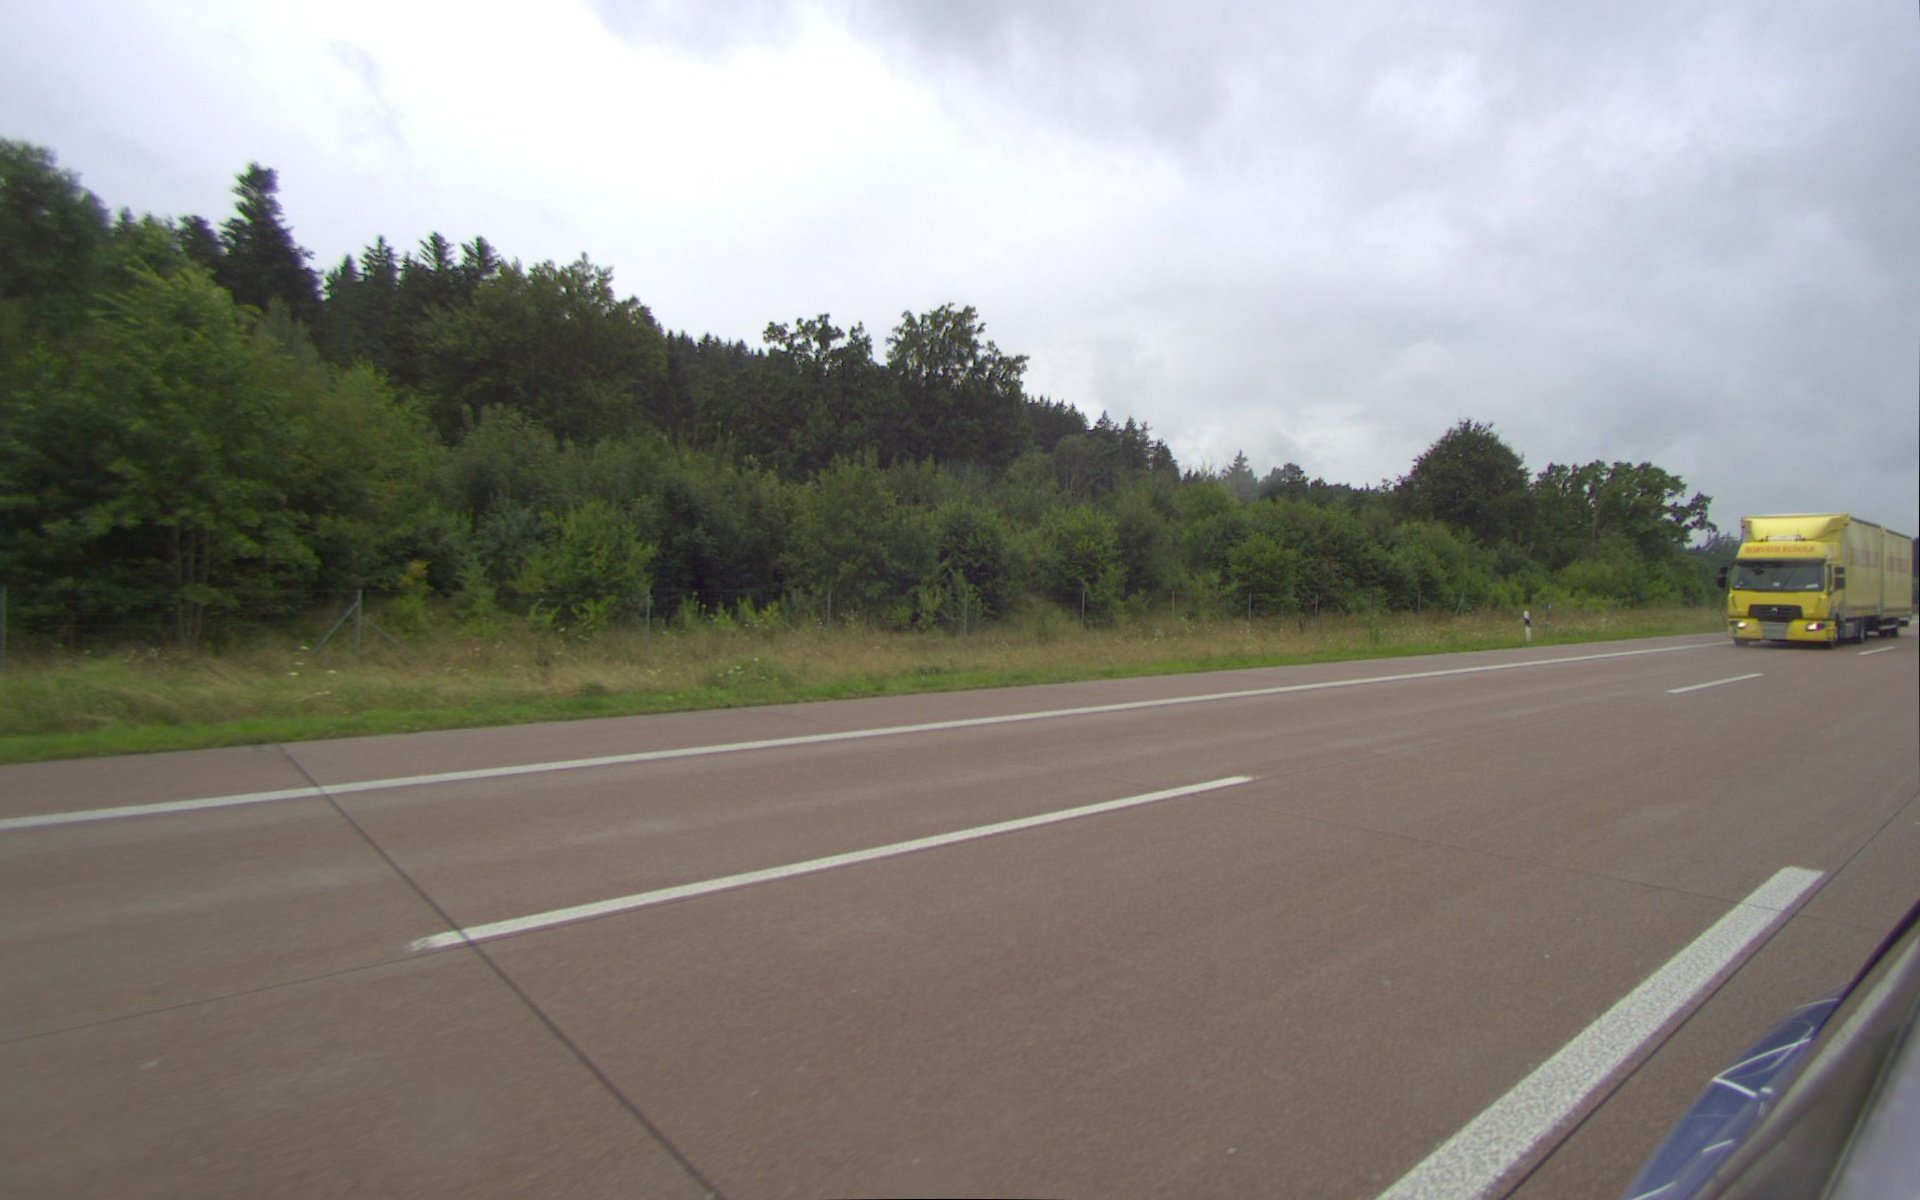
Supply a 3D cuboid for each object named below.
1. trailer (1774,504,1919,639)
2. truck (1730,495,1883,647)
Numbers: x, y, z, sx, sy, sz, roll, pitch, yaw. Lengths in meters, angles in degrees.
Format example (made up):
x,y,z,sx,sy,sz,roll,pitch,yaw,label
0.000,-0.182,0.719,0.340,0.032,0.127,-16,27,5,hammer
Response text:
x,y,z,sx,sy,sz,roll,pitch,yaw,label
33.363,-0.998,37.347,13.831,4.281,2.570,-1,1,-40,trailer
26.390,-0.867,31.460,6.140,4.267,2.609,-1,0,-40,truck
